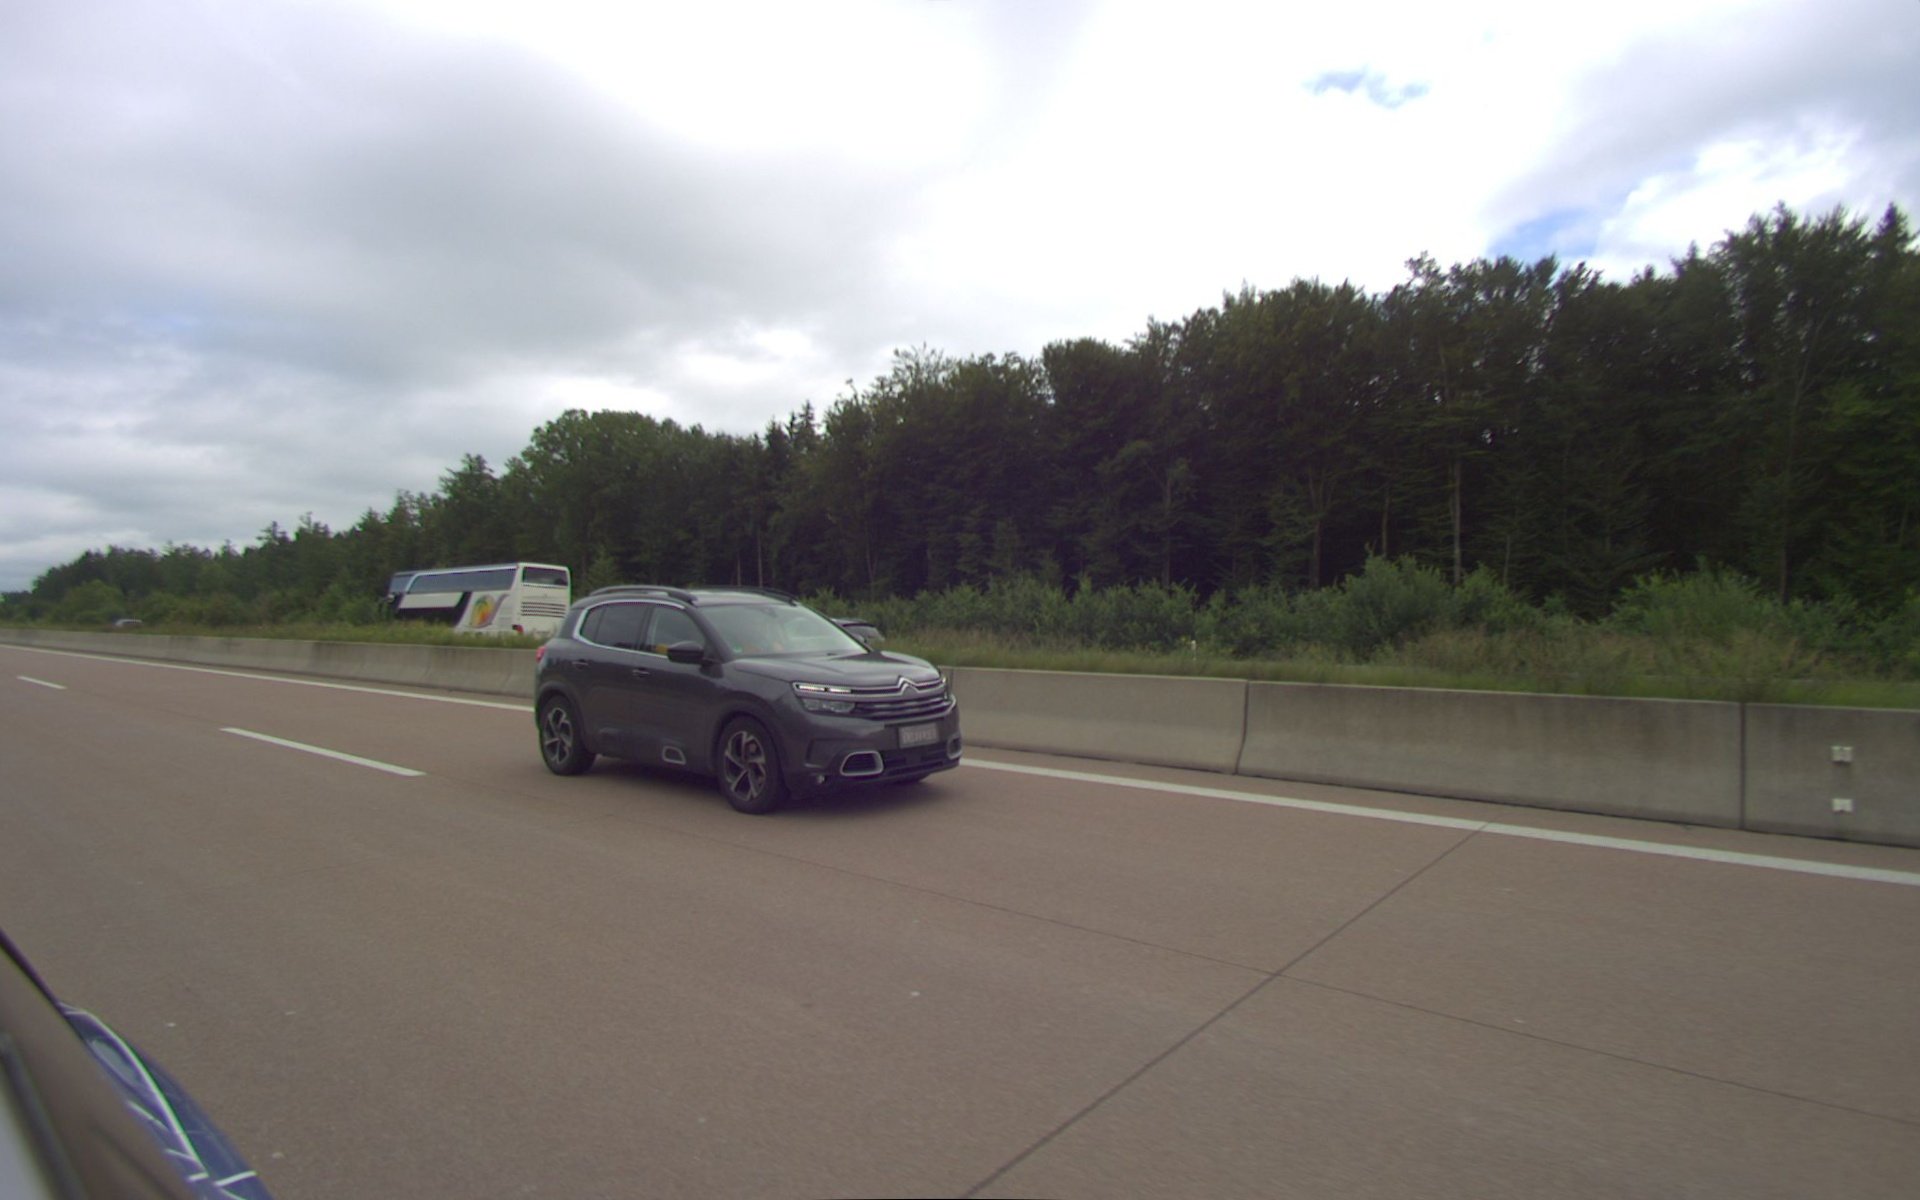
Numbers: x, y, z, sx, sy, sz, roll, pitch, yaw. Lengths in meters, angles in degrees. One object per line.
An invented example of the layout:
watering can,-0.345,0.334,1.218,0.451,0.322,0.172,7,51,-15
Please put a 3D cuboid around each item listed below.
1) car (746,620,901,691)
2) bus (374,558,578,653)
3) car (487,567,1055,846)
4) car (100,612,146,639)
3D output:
car,-3.525,1.353,25.752,3.998,1.630,1.716,-1,0,41
bus,-23.203,0.353,47.829,14.349,3.918,3.018,-1,-1,40
car,-1.898,0.698,8.704,5.249,1.711,1.973,-1,-1,41
car,-63.008,1.913,76.184,4.163,1.847,1.973,-1,1,41
